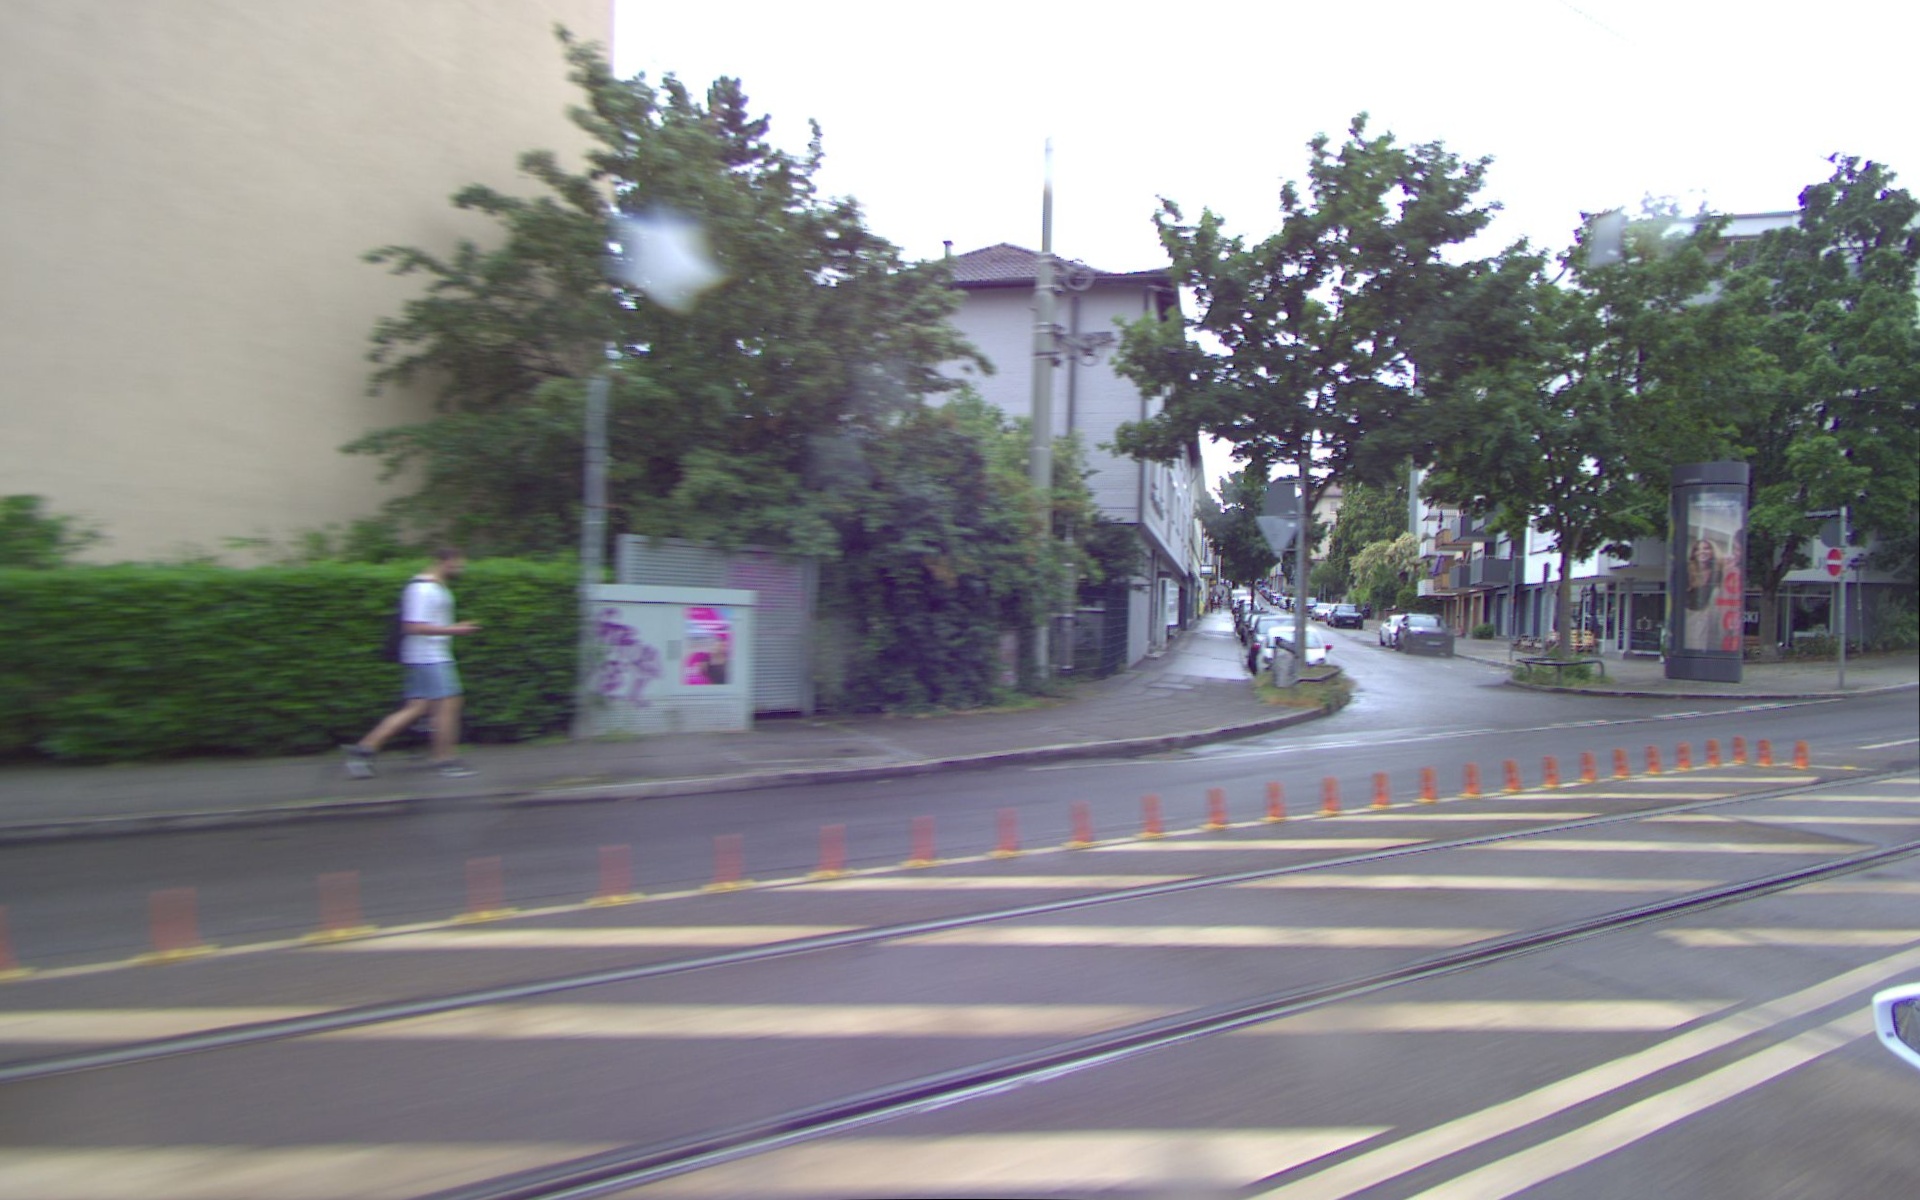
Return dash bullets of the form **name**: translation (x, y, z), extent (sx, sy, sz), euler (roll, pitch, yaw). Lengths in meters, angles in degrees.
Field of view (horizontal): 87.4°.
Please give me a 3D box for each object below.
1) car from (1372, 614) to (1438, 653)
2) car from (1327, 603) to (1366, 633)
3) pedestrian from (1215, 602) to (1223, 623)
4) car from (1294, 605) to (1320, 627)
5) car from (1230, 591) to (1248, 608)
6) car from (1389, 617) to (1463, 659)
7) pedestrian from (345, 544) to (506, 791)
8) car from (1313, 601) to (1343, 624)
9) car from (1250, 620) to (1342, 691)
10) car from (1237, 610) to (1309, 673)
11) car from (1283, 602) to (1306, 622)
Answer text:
- **car**: translation (20.714, 1.515, 46.907), extent (1.960, 1.617, 4.676), euler (3, 0, 14)
- **car**: translation (26.346, 1.246, 68.583), extent (1.960, 1.885, 4.002), euler (3, 0, 14)
- **pedestrian**: translation (25.512, 1.243, 98.977), extent (0.725, 2.040, 0.742), euler (3, 0, 14)
- **car**: translation (33.769, 1.540, 97.768), extent (1.960, 2.040, 4.002), euler (3, 0, 14)
- **car**: translation (35.325, -0.010, 127.275), extent (1.960, 2.040, 4.002), euler (3, 0, 14)
- **car**: translation (19.130, 1.524, 41.405), extent (1.960, 1.538, 4.002), euler (3, 0, 14)
- **pedestrian**: translation (-4.403, 0.517, 8.257), extent (1.007, 1.870, 0.913), euler (3, 1, -35)
- **car**: translation (31.824, 1.077, 86.979), extent (1.960, 1.840, 4.002), euler (3, 0, 14)
- **car**: translation (8.401, 1.326, 25.397), extent (1.960, 1.500, 4.162), euler (3, 0, 16)
- **car**: translation (9.582, 1.206, 31.028), extent (1.805, 1.728, 4.643), euler (2, 0, 14)
- **car**: translation (35.131, 1.267, 105.551), extent (1.960, 2.040, 4.002), euler (3, 0, 14)
